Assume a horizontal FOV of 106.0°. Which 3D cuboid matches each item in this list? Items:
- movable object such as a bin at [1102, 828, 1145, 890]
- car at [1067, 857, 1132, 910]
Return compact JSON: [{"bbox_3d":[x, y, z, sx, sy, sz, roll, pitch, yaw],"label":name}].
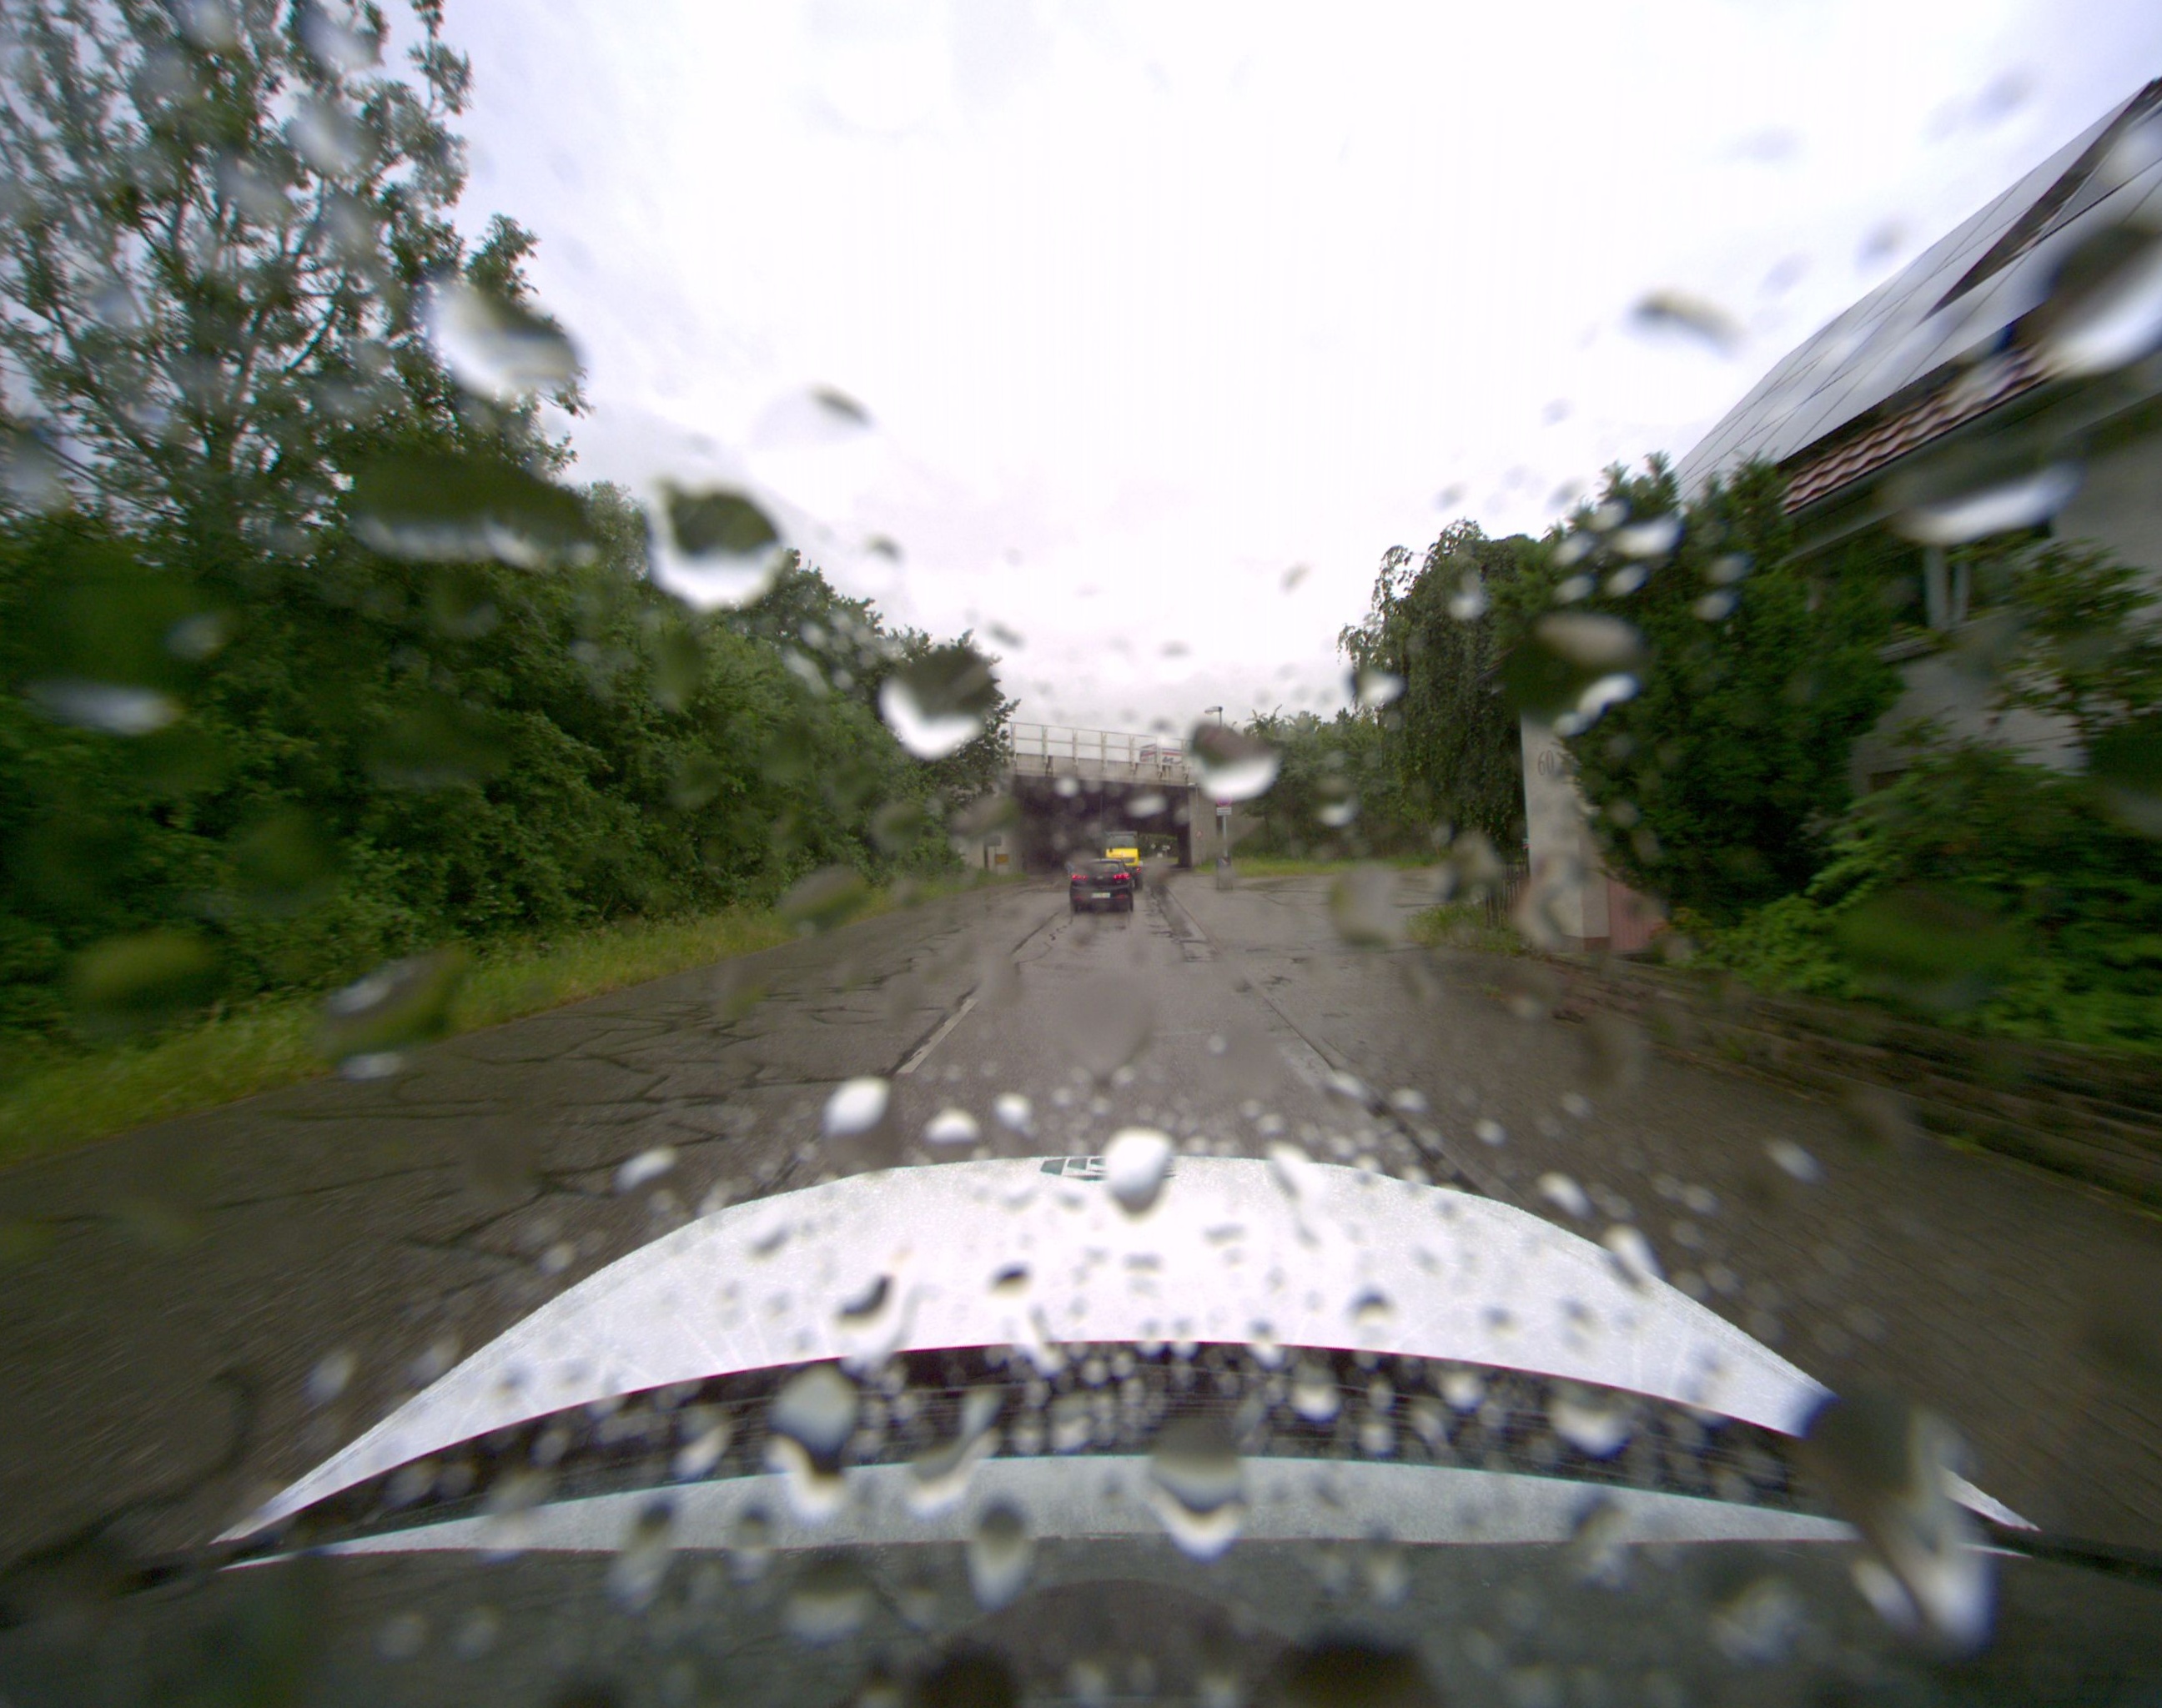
[{"bbox_3d":[1.823,0.207,35.843,1.754,2.548,4.240,-1,0,2],"label":"movable object such as a bin"},{"bbox_3d":[0.551,0.779,23.476,1.702,1.377,4.002,-1,0,2],"label":"car"}]
